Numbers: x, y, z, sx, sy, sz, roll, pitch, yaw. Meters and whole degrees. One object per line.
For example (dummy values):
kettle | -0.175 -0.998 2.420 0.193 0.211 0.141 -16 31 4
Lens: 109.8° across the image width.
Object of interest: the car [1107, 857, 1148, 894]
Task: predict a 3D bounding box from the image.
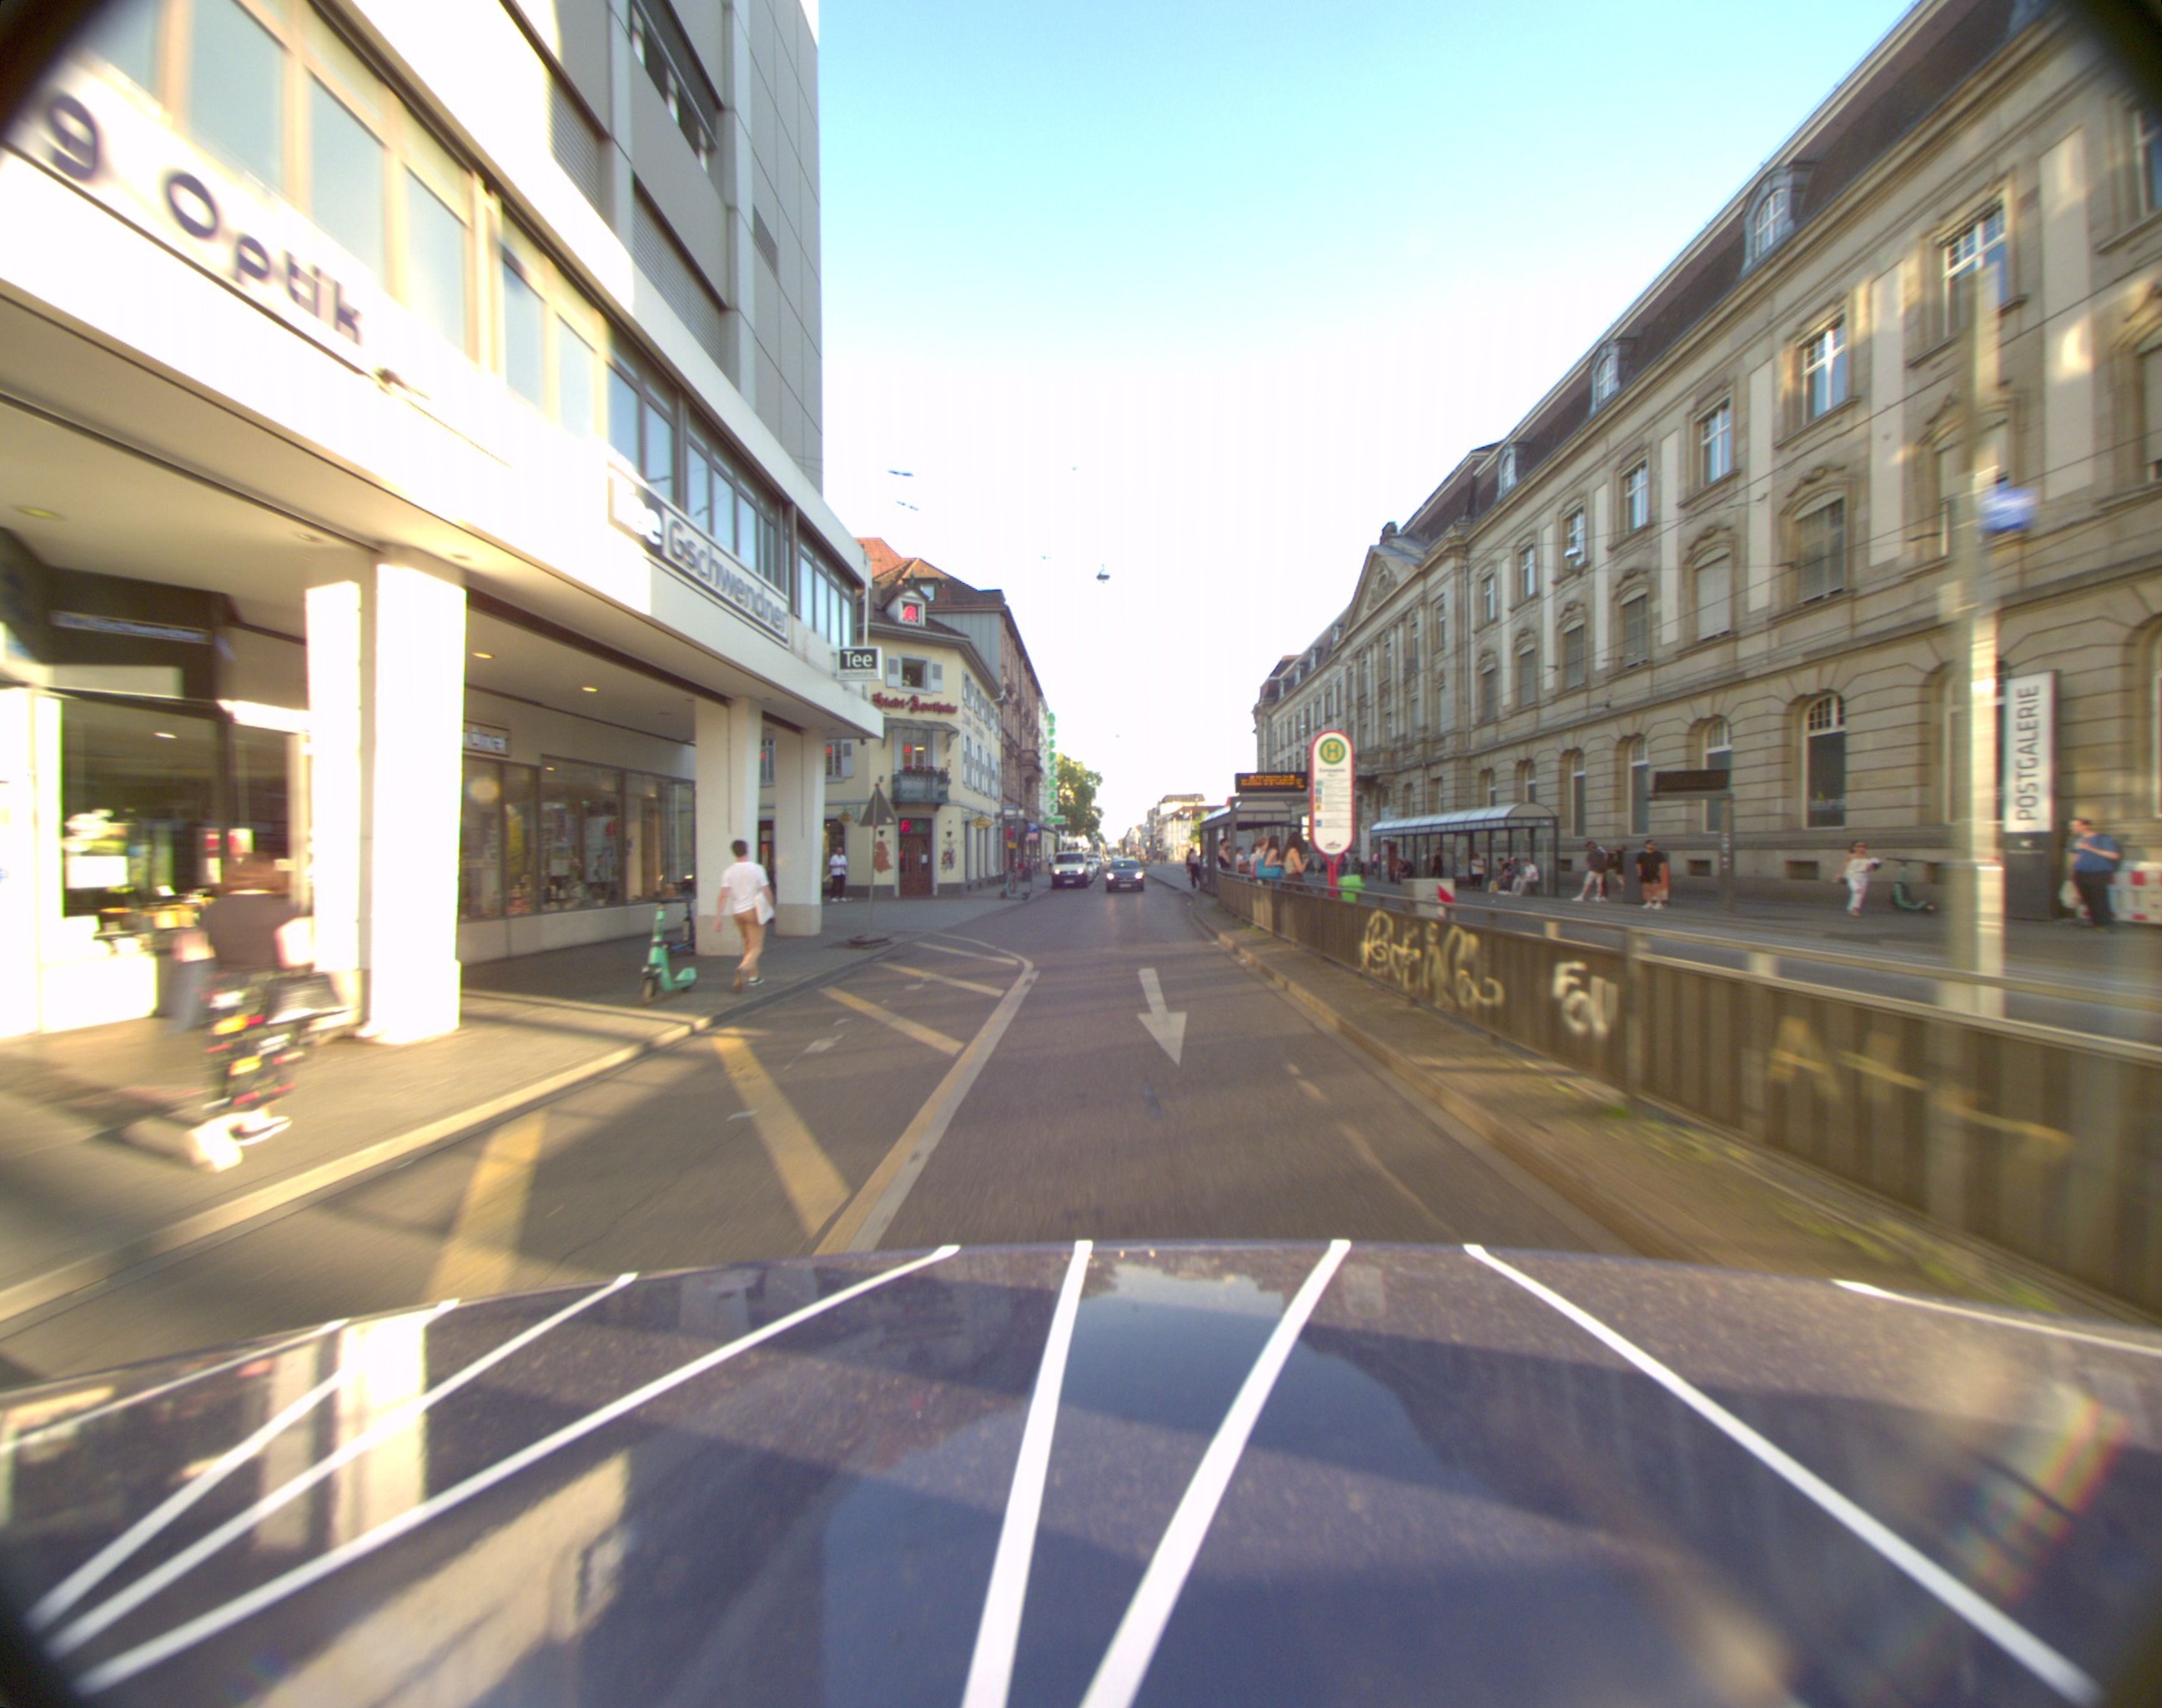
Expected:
car | 2.107 0.943 34.968 1.738 1.495 4.000 -2 0 2

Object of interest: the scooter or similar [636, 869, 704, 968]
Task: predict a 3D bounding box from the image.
scooter or similar | -6.592 0.998 12.250 0.314 1.480 1.315 -1 0 2

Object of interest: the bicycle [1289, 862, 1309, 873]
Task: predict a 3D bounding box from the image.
bicycle | 18.875 1.166 65.807 1.578 0.869 0.451 -2 1 7

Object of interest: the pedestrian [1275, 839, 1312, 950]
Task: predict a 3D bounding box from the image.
pedestrian | 3.183 0.595 11.406 0.357 1.632 0.503 -2 1 0

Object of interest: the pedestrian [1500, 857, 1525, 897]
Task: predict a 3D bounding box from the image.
pedestrian | 14.386 0.767 25.358 0.519 1.320 0.638 -1 1 6

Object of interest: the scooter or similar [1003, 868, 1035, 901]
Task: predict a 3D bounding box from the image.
scooter or similar | -2.392 1.150 29.143 1.177 1.227 0.317 1 1 18

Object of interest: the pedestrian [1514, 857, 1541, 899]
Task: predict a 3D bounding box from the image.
pedestrian | 14.411 0.770 24.544 0.519 1.320 0.638 -1 1 6

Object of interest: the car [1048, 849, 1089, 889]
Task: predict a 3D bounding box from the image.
car | -0.598 0.739 40.779 1.881 1.912 4.700 -3 0 2

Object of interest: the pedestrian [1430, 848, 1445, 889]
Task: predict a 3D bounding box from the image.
pedestrian | 14.521 0.595 30.968 0.518 1.641 0.639 0 1 24

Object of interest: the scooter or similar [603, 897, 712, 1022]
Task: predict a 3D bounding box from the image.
scooter or similar | -4.662 1.125 8.437 0.506 1.227 1.180 -1 0 2

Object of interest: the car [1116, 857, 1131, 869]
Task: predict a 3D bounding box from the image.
car | 5.546 1.125 100.140 1.810 1.474 4.284 -3 -1 2

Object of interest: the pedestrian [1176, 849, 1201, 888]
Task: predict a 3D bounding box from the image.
pedestrian | 4.593 0.623 32.331 0.970 1.619 0.691 -1 0 13

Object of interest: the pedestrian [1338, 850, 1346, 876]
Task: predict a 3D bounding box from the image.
pedestrian | 16.363 0.547 47.626 0.439 1.596 0.573 -2 1 23

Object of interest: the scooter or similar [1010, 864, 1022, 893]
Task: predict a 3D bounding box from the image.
scooter or similar | -2.870 1.064 33.717 0.272 1.227 1.308 1 1 6

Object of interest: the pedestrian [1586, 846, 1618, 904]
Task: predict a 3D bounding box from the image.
pedestrian | 15.150 0.598 22.098 0.519 1.636 0.638 -1 1 6

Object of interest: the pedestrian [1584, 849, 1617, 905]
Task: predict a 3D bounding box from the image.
pedestrian | 14.656 0.635 21.450 0.519 1.560 0.638 -1 1 6

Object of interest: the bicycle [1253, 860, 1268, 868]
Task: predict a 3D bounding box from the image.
bicycle | 19.285 1.079 81.610 1.578 0.869 0.451 -2 1 7

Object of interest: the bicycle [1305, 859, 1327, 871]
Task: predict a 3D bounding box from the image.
bicycle | 18.985 0.898 61.409 1.578 0.869 0.451 -2 1 7

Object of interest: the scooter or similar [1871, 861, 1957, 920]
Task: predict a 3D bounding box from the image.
scooter or similar | 17.949 0.763 16.410 0.488 1.175 1.293 -2 1 4

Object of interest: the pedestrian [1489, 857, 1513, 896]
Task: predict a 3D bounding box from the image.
pedestrian | 14.417 0.762 26.105 0.519 1.320 0.638 -1 1 6

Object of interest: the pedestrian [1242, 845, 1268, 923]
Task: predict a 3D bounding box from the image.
pedestrian | 3.722 0.630 16.287 0.386 1.632 0.549 -2 1 0

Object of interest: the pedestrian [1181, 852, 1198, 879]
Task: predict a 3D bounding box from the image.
pedestrian | 6.190 0.660 43.555 0.848 1.492 0.901 -1 0 2

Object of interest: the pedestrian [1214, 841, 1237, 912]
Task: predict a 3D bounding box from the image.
pedestrian | 3.680 0.562 19.354 0.413 1.757 0.594 -2 1 0

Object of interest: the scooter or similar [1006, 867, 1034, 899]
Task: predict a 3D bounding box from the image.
scooter or similar | -2.391 1.135 29.842 1.049 1.227 0.271 0 1 -30

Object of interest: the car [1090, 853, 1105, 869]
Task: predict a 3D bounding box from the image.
car | 2.126 0.849 99.634 1.857 2.055 5.216 0 0 2

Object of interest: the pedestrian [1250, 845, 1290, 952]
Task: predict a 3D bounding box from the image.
pedestrian | 3.178 0.728 12.804 0.540 1.757 0.594 -2 1 7

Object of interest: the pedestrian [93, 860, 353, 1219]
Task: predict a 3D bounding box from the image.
pedestrian | -4.442 0.887 3.996 0.702 1.683 0.540 -2 1 -27

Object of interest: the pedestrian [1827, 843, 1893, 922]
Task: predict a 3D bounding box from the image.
pedestrian | 16.186 0.582 15.796 0.701 1.605 0.631 -2 1 1

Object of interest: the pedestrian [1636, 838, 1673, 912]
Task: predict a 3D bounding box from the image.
pedestrian | 13.926 0.500 18.466 0.468 1.766 0.561 -1 0 6

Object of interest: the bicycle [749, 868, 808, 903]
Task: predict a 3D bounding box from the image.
bicycle | -11.140 1.143 28.034 0.770 1.174 1.850 -1 1 33

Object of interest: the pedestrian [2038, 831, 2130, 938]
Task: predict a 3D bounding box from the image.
pedestrian | 17.108 0.516 12.976 0.622 1.766 0.706 -1 0 -1

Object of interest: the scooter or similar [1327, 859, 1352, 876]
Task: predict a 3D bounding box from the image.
scooter or similar | 17.804 0.923 52.324 1.550 1.062 0.451 -2 1 7

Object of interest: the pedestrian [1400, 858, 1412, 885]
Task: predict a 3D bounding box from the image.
pedestrian | 14.691 0.780 34.331 0.365 1.193 0.430 -2 1 8

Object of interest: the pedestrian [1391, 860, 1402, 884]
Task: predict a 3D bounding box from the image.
pedestrian | 14.859 0.837 35.758 0.365 1.096 0.430 -2 1 8

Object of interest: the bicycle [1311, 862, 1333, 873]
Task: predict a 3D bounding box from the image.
bicycle | 18.971 1.062 59.787 1.578 0.869 0.451 -2 1 7

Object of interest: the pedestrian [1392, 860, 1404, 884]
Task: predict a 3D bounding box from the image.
pedestrian | 14.681 0.845 35.179 0.365 1.096 0.430 -2 1 8

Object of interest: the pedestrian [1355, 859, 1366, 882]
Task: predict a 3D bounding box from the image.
pedestrian | 17.807 1.039 48.398 0.439 1.431 0.573 -1 1 39

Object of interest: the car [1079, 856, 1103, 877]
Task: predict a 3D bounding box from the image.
car | 0.845 1.007 61.844 1.736 1.502 4.865 -3 0 2

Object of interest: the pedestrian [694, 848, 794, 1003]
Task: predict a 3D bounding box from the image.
pedestrian | -4.106 0.844 9.310 0.700 1.805 0.852 -2 1 9

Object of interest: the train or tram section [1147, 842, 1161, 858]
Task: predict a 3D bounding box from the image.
train or tram section | 18.798 -1.083 196.384 2.902 3.665 13.478 2 2 2

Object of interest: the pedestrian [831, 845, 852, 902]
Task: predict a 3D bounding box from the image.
pedestrian | -8.487 0.676 26.935 0.544 2.002 0.643 -1 1 -32

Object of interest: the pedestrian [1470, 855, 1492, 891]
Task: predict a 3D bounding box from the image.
pedestrian | 15.075 0.719 28.627 0.519 1.320 0.638 -1 1 6

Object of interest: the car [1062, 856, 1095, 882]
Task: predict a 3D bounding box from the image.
car | -0.088 0.927 47.626 1.810 1.474 4.779 -3 -1 2

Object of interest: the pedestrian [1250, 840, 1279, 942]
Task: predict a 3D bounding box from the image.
pedestrian | 3.294 0.656 13.688 0.342 1.785 0.544 -2 1 0

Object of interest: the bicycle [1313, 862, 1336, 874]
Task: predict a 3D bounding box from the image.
bicycle | 18.557 1.076 57.929 1.578 0.869 0.451 -2 1 7

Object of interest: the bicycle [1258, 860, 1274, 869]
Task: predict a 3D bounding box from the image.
bicycle | 19.347 1.087 79.389 1.578 0.869 0.451 -2 1 7

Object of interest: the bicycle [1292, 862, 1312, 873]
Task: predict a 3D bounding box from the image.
bicycle | 18.630 1.103 64.081 1.578 0.869 0.451 -2 1 7

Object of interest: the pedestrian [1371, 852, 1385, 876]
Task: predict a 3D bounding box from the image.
pedestrian | 18.708 0.643 47.843 0.541 1.481 0.593 -2 1 -21

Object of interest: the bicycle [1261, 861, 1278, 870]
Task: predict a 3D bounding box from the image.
bicycle | 19.498 1.166 78.603 1.578 0.869 0.451 -2 1 7
